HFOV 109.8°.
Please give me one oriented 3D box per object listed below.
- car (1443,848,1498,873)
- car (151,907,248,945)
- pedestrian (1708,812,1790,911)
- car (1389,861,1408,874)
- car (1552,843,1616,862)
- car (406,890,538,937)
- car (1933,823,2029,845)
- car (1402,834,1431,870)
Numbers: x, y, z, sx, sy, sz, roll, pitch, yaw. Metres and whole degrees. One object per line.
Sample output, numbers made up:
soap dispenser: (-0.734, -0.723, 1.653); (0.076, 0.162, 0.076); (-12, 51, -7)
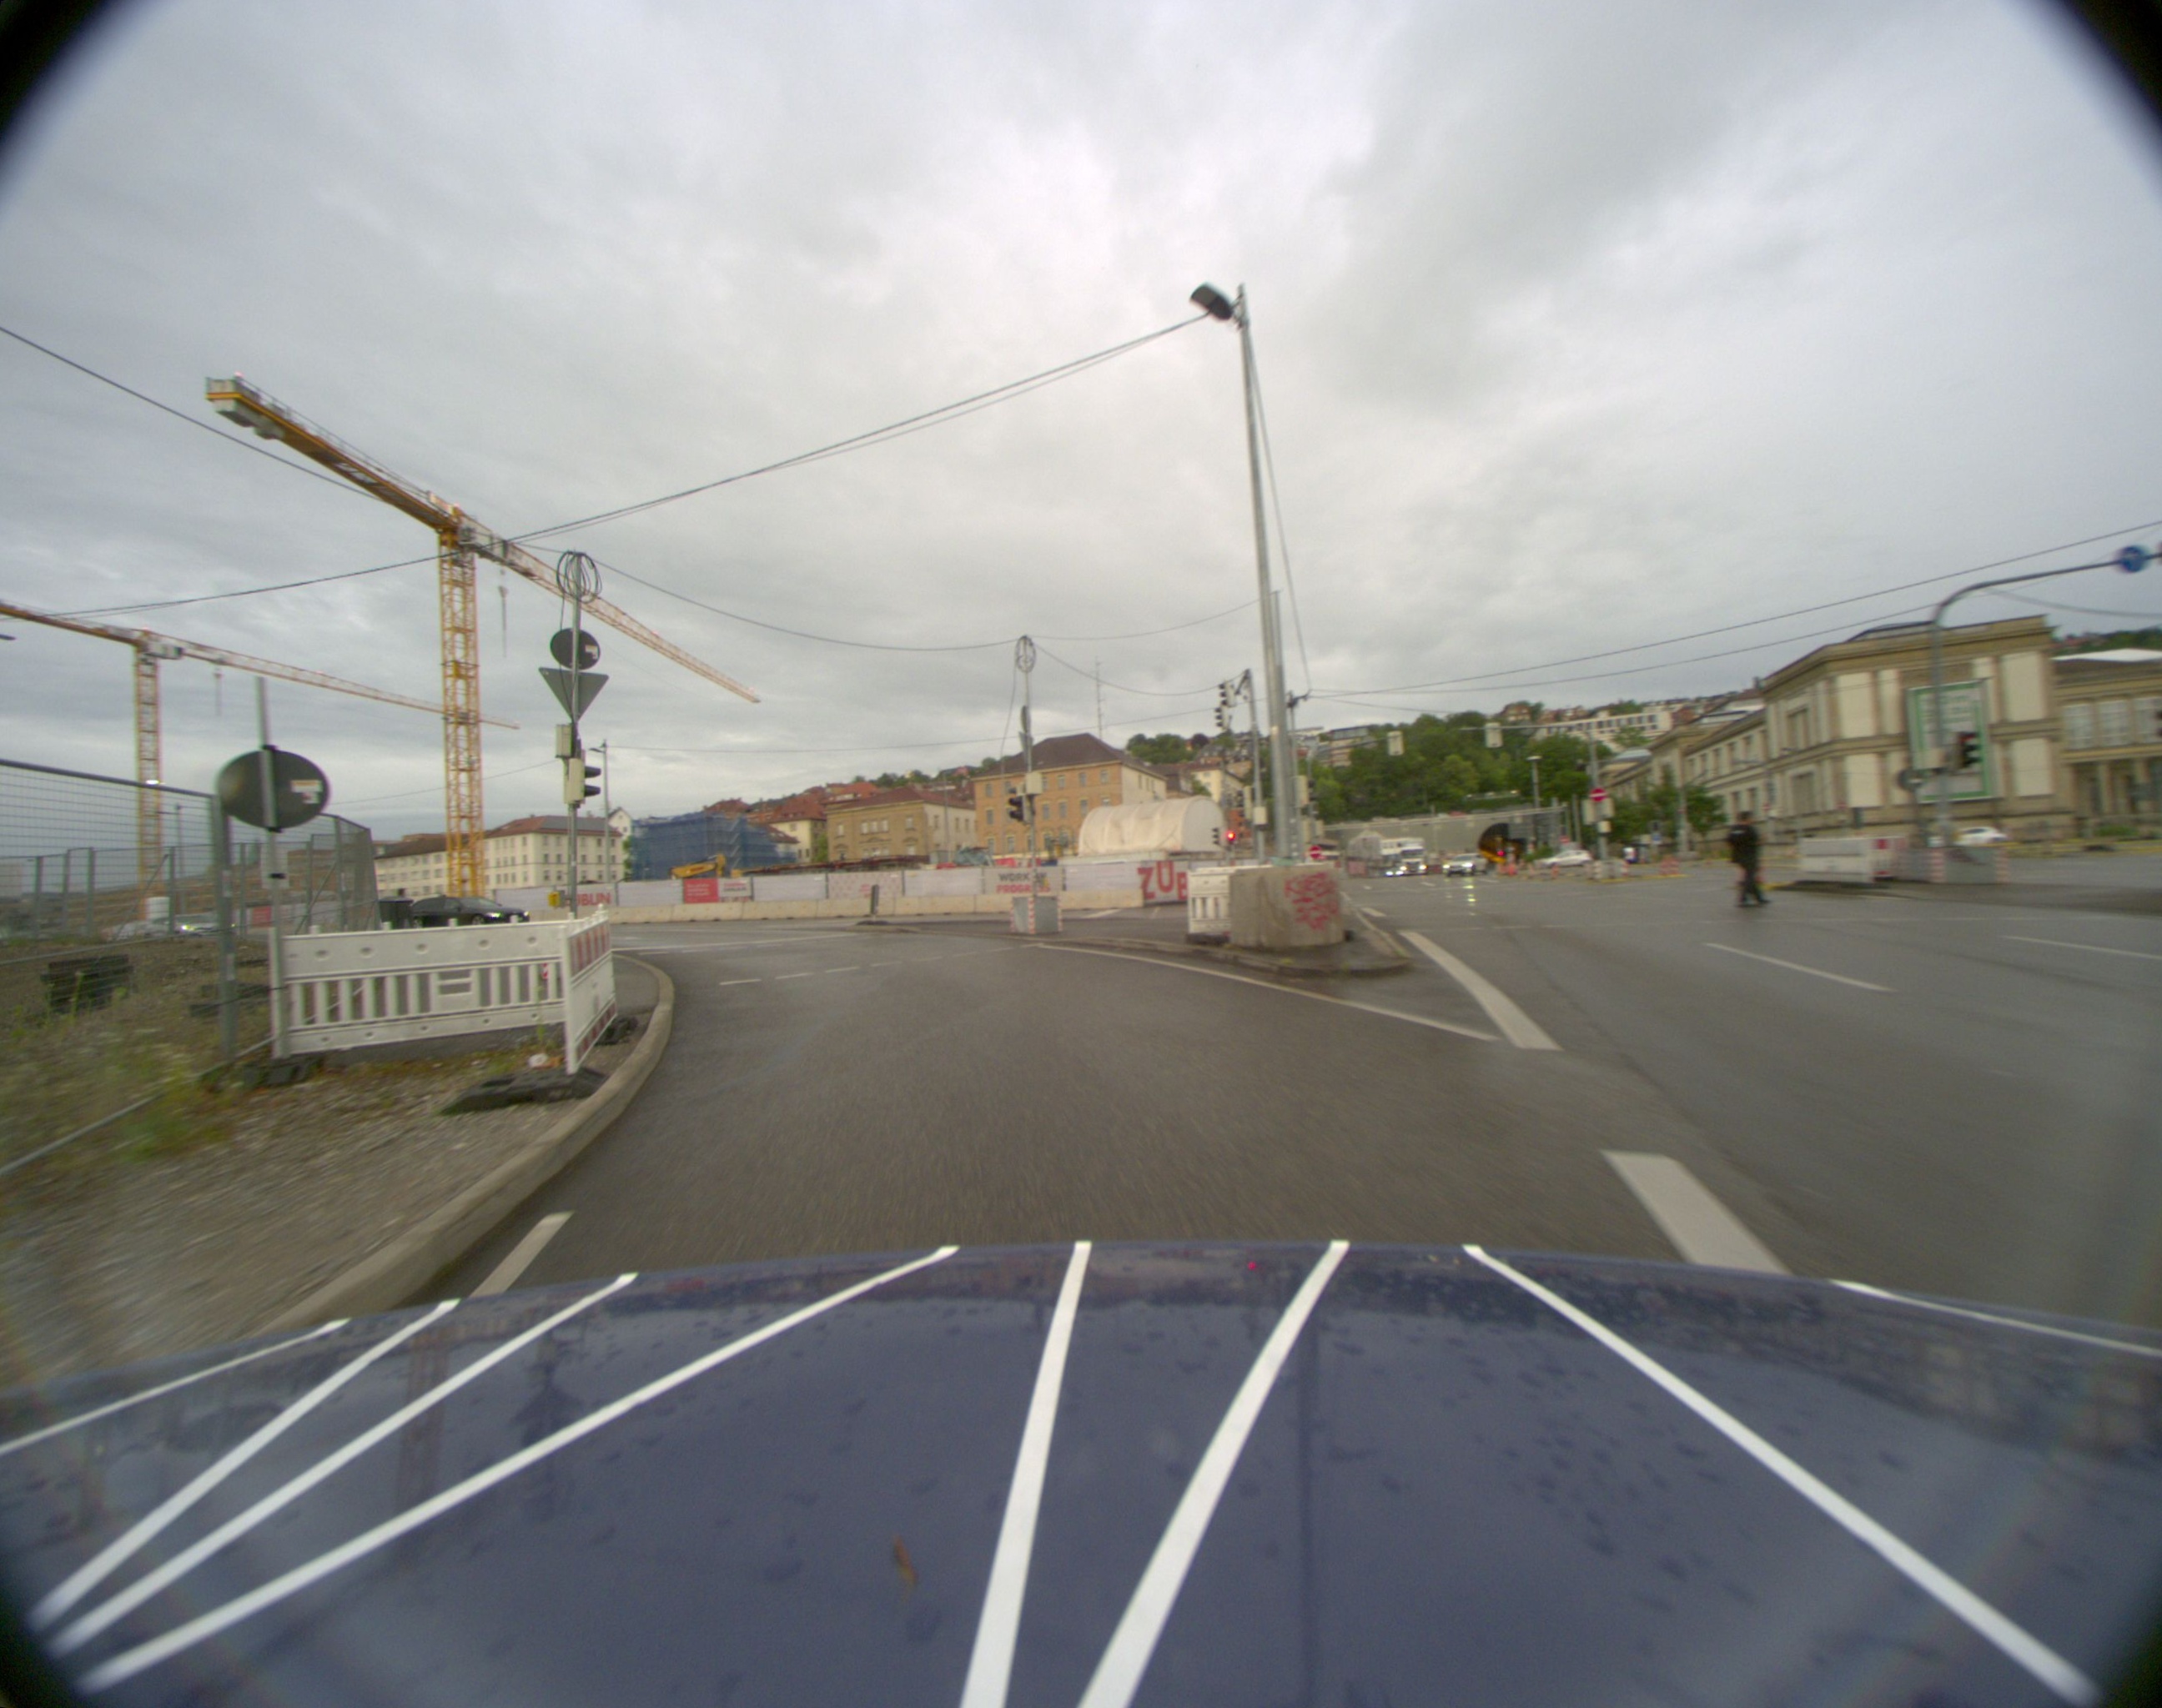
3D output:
car: (27.152, 0.426, 52.897); (4.007, 1.561, 1.995); (-3, 1, -40)
car: (-43.424, 3.511, 37.436); (4.103, 1.608, 1.891); (-2, 1, 23)
pedestrian: (12.050, 0.131, 13.720); (0.783, 1.700, 0.762); (-2, 1, 1)
car: (42.240, 1.742, 101.011); (1.995, 1.462, 4.353); (-2, 1, 26)
car: (43.684, -0.134, 66.078); (4.335, 1.463, 2.003); (-2, 1, 26)
car: (-23.883, 2.313, 29.836); (4.105, 1.609, 1.890); (-2, 1, 14)
car: (69.525, -1.542, 58.804); (4.335, 1.463, 2.003); (-2, 1, 26)
car: (39.391, -0.296, 89.137); (2.832, 3.991, 8.738); (-2, 1, 25)
